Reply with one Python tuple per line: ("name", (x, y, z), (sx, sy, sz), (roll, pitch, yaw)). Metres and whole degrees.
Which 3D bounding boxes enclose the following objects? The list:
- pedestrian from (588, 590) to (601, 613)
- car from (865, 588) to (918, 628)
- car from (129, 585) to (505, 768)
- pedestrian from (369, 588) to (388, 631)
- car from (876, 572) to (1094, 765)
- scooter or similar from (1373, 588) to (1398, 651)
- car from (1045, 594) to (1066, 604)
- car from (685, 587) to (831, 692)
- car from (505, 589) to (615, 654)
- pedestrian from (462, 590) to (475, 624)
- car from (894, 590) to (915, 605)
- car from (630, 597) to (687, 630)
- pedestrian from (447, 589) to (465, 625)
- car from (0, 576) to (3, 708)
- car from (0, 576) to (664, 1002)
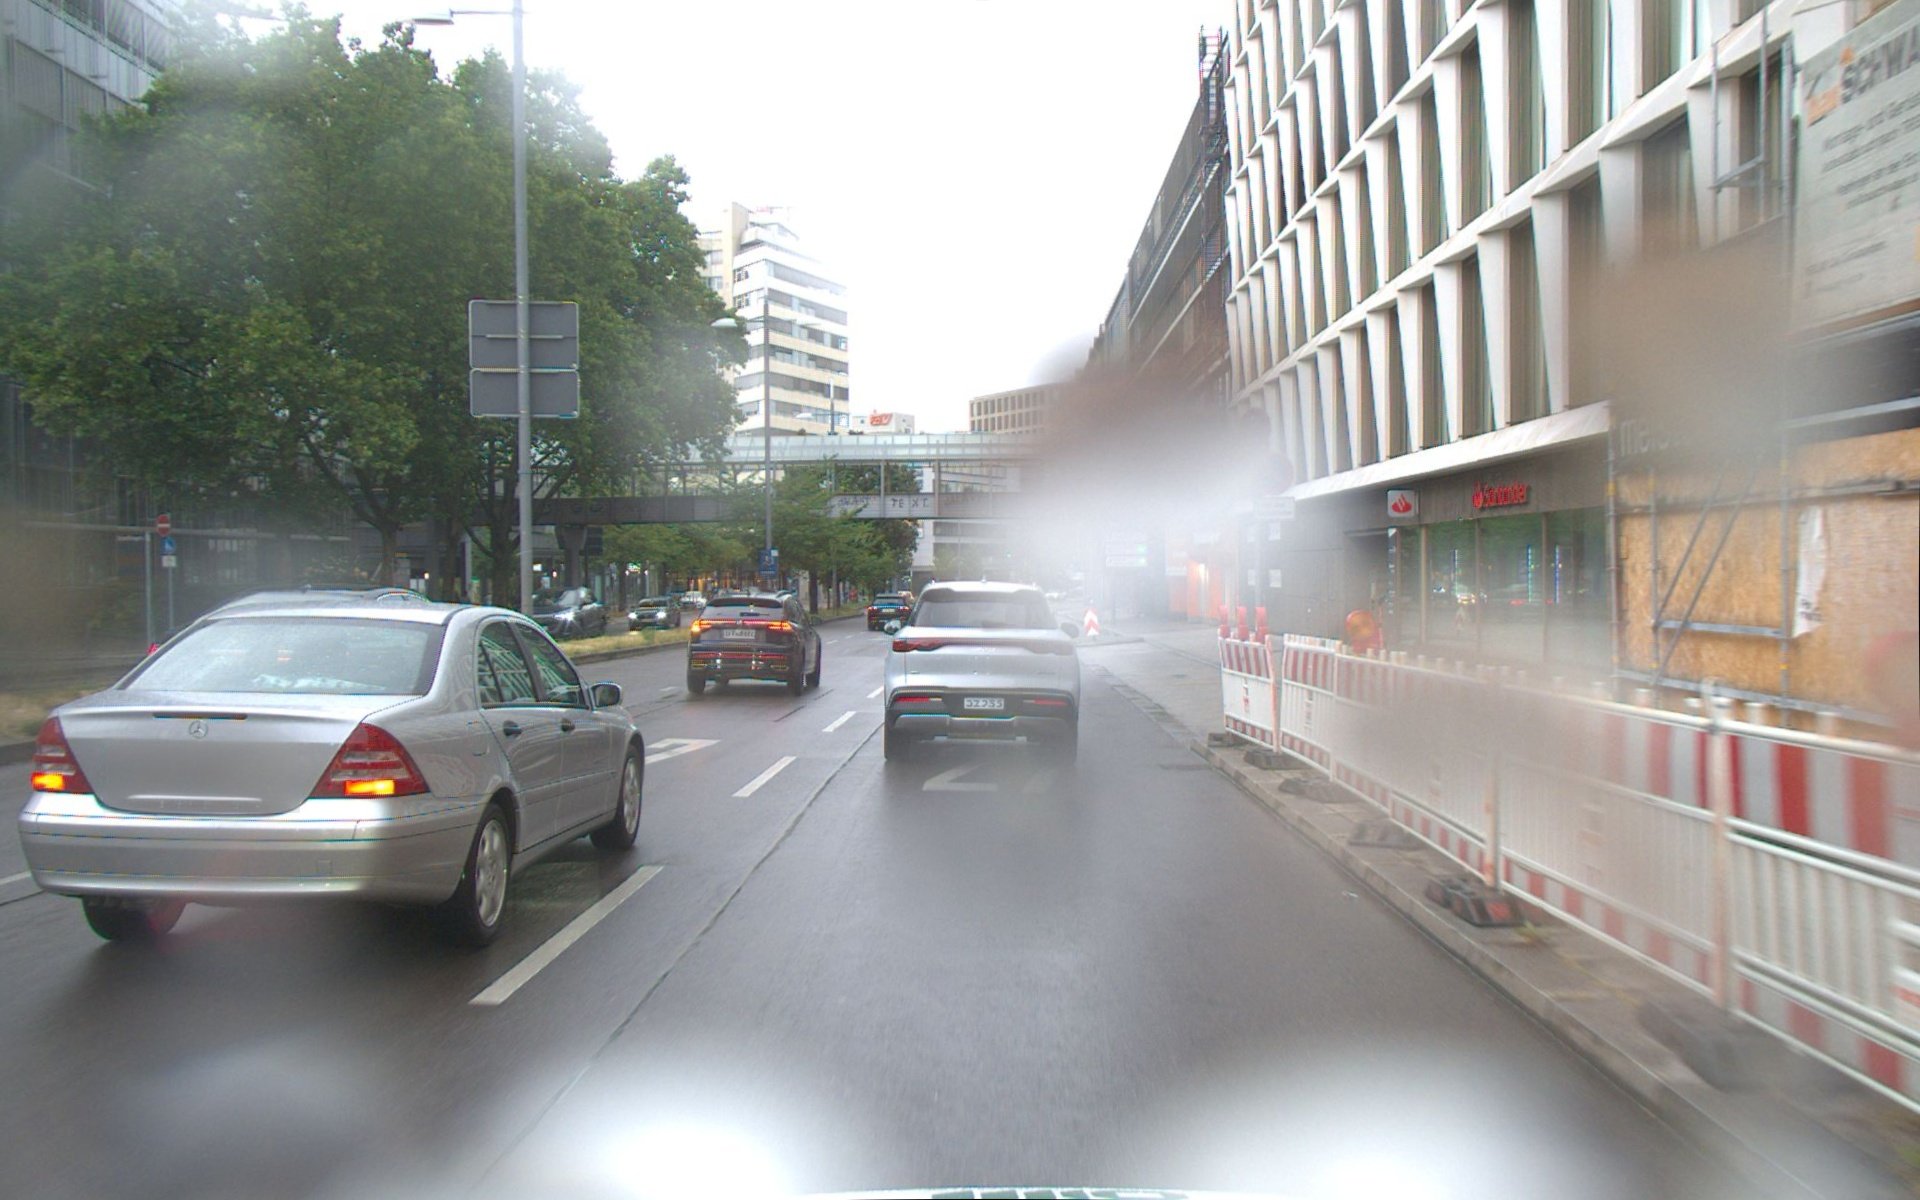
("pedestrian", (-28.060, 0.135, 127.034), (0.727, 1.745, 1.057), (0, 0, 0))
("car", (-2.756, 0.298, 67.064), (1.774, 1.606, 4.002), (0, 0, 3))
("car", (-5.999, 0.614, 16.149), (1.834, 1.505, 4.877), (0, 0, -1))
("pedestrian", (-25.075, 0.397, 71.330), (0.593, 1.839, 0.511), (0, 0, 1))
("car", (0.252, 0.587, 16.235), (1.862, 1.650, 4.000), (0, 0, 1))
("scooter or similar", (8.613, 0.383, 33.498), (0.403, 1.258, 1.190), (0, 0, 10))
("car", (14.571, -0.151, 251.846), (1.552, 1.565, 3.991), (0, 0, 31))
("car", (-3.045, 0.574, 25.647), (1.737, 1.482, 4.000), (-1, 0, 0))
("car", (-11.071, 0.578, 46.089), (1.835, 1.710, 4.681), (-1, 0, 1))
("pedestrian", (-25.351, 0.362, 85.320), (0.548, 1.715, 0.511), (0, 0, 1))
("car", (-4.979, -0.217, 148.995), (1.619, 1.365, 4.002), (0, 0, 3))
("car", (-14.068, 0.619, 77.396), (1.656, 1.463, 4.760), (-1, 0, 1))
("pedestrian", (-25.988, 0.370, 85.261), (0.707, 1.839, 0.618), (0, 0, 1))
("car", (-11.604, 0.465, 16.232), (1.665, 1.462, 4.583), (-1, 0, 2))
("car", (-2.702, 0.696, 8.081), (1.638, 1.505, 4.361), (0, -1, 1))
